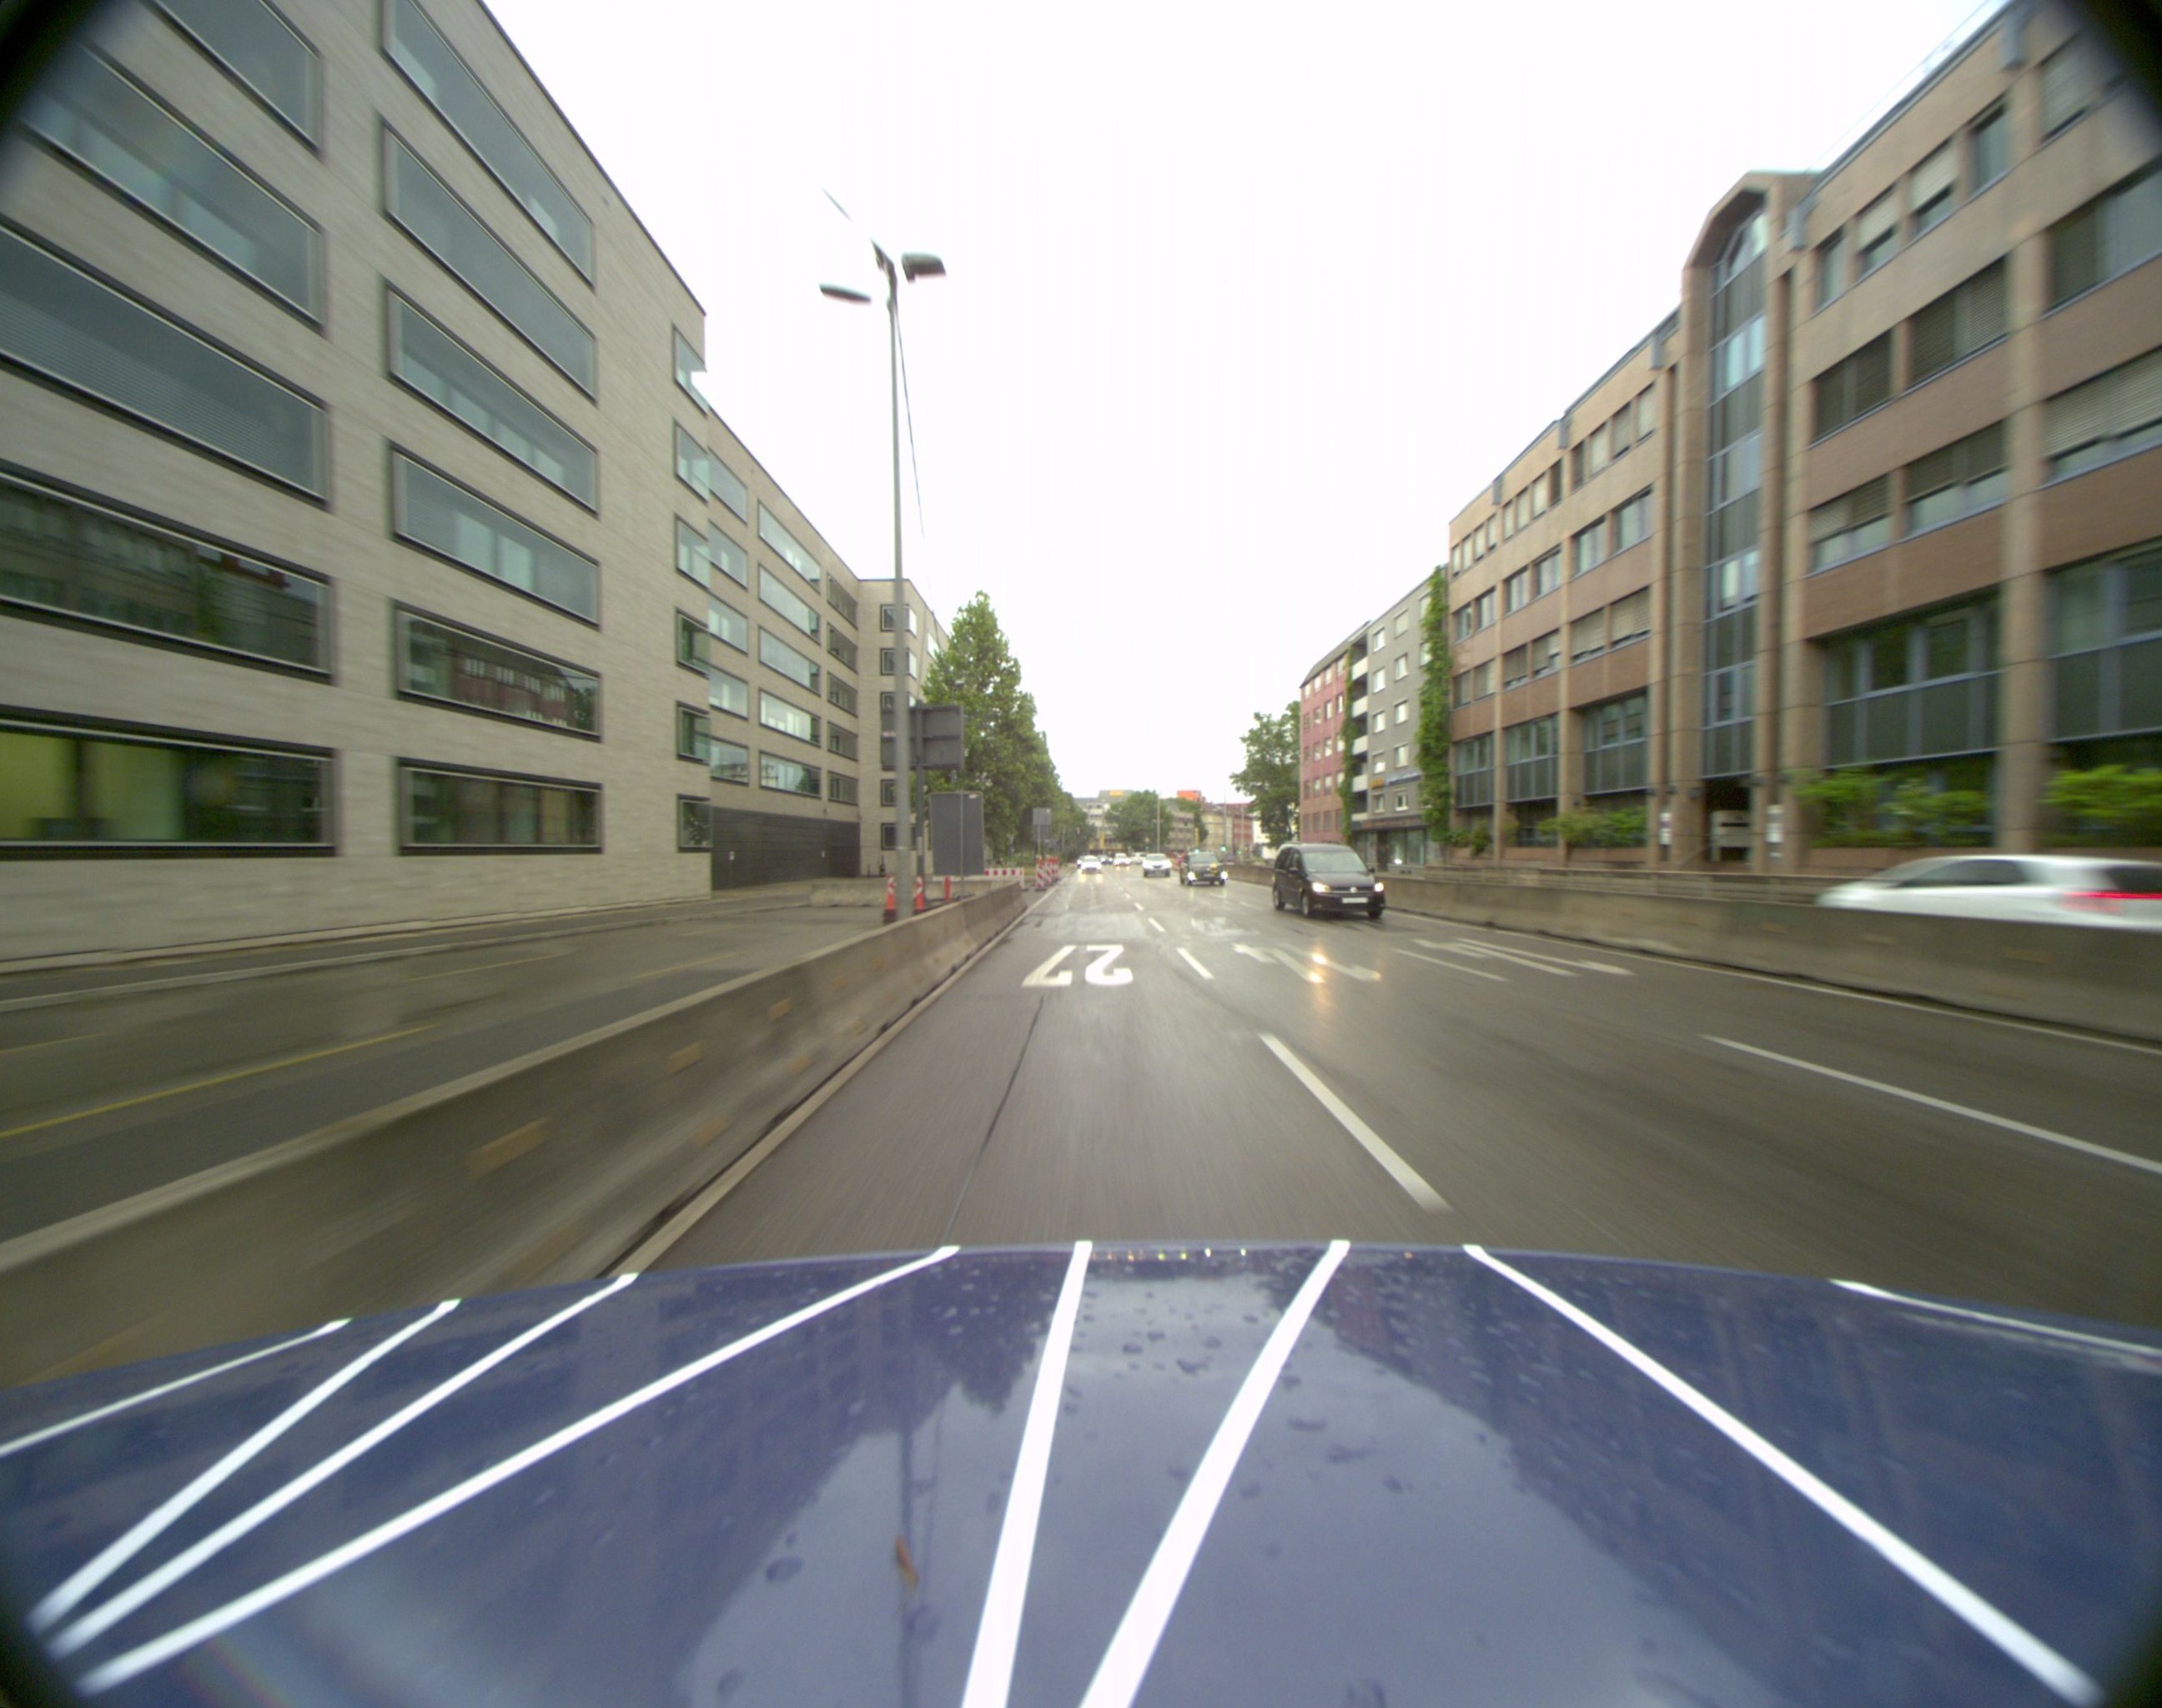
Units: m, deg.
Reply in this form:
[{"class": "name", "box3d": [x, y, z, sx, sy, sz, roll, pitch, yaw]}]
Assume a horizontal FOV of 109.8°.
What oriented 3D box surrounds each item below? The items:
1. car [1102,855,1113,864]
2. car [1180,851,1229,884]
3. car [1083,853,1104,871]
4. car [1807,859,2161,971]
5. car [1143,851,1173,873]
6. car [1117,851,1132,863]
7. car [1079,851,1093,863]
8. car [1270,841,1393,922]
[{"class": "car", "box3d": [4.352, 0.912, 125.937, 1.772, 1.524, 4.656, 0, 0, 1]}, {"class": "car", "box3d": [6.028, 0.607, 37.638, 1.772, 1.524, 4.356, 0, 0, 1]}, {"class": "car", "box3d": [1.087, 0.700, 66.950, 1.772, 1.524, 4.656, 0, 0, 1]}, {"class": "car", "box3d": [13.127, 0.752, 11.001, 1.723, 1.312, 3.697, 0, 0, 1]}, {"class": "car", "box3d": [5.483, 0.566, 54.568, 1.772, 1.524, 4.656, 0, 0, 1]}, {"class": "car", "box3d": [6.067, 0.393, 106.157, 1.772, 1.524, 4.656, 0, 0, 1]}, {"class": "car", "box3d": [0.660, 0.401, 100.266, 1.772, 1.524, 4.656, 0, 0, 1]}, {"class": "car", "box3d": [6.048, 0.599, 18.876, 1.798, 1.790, 4.251, -1, 0, 3]}]
